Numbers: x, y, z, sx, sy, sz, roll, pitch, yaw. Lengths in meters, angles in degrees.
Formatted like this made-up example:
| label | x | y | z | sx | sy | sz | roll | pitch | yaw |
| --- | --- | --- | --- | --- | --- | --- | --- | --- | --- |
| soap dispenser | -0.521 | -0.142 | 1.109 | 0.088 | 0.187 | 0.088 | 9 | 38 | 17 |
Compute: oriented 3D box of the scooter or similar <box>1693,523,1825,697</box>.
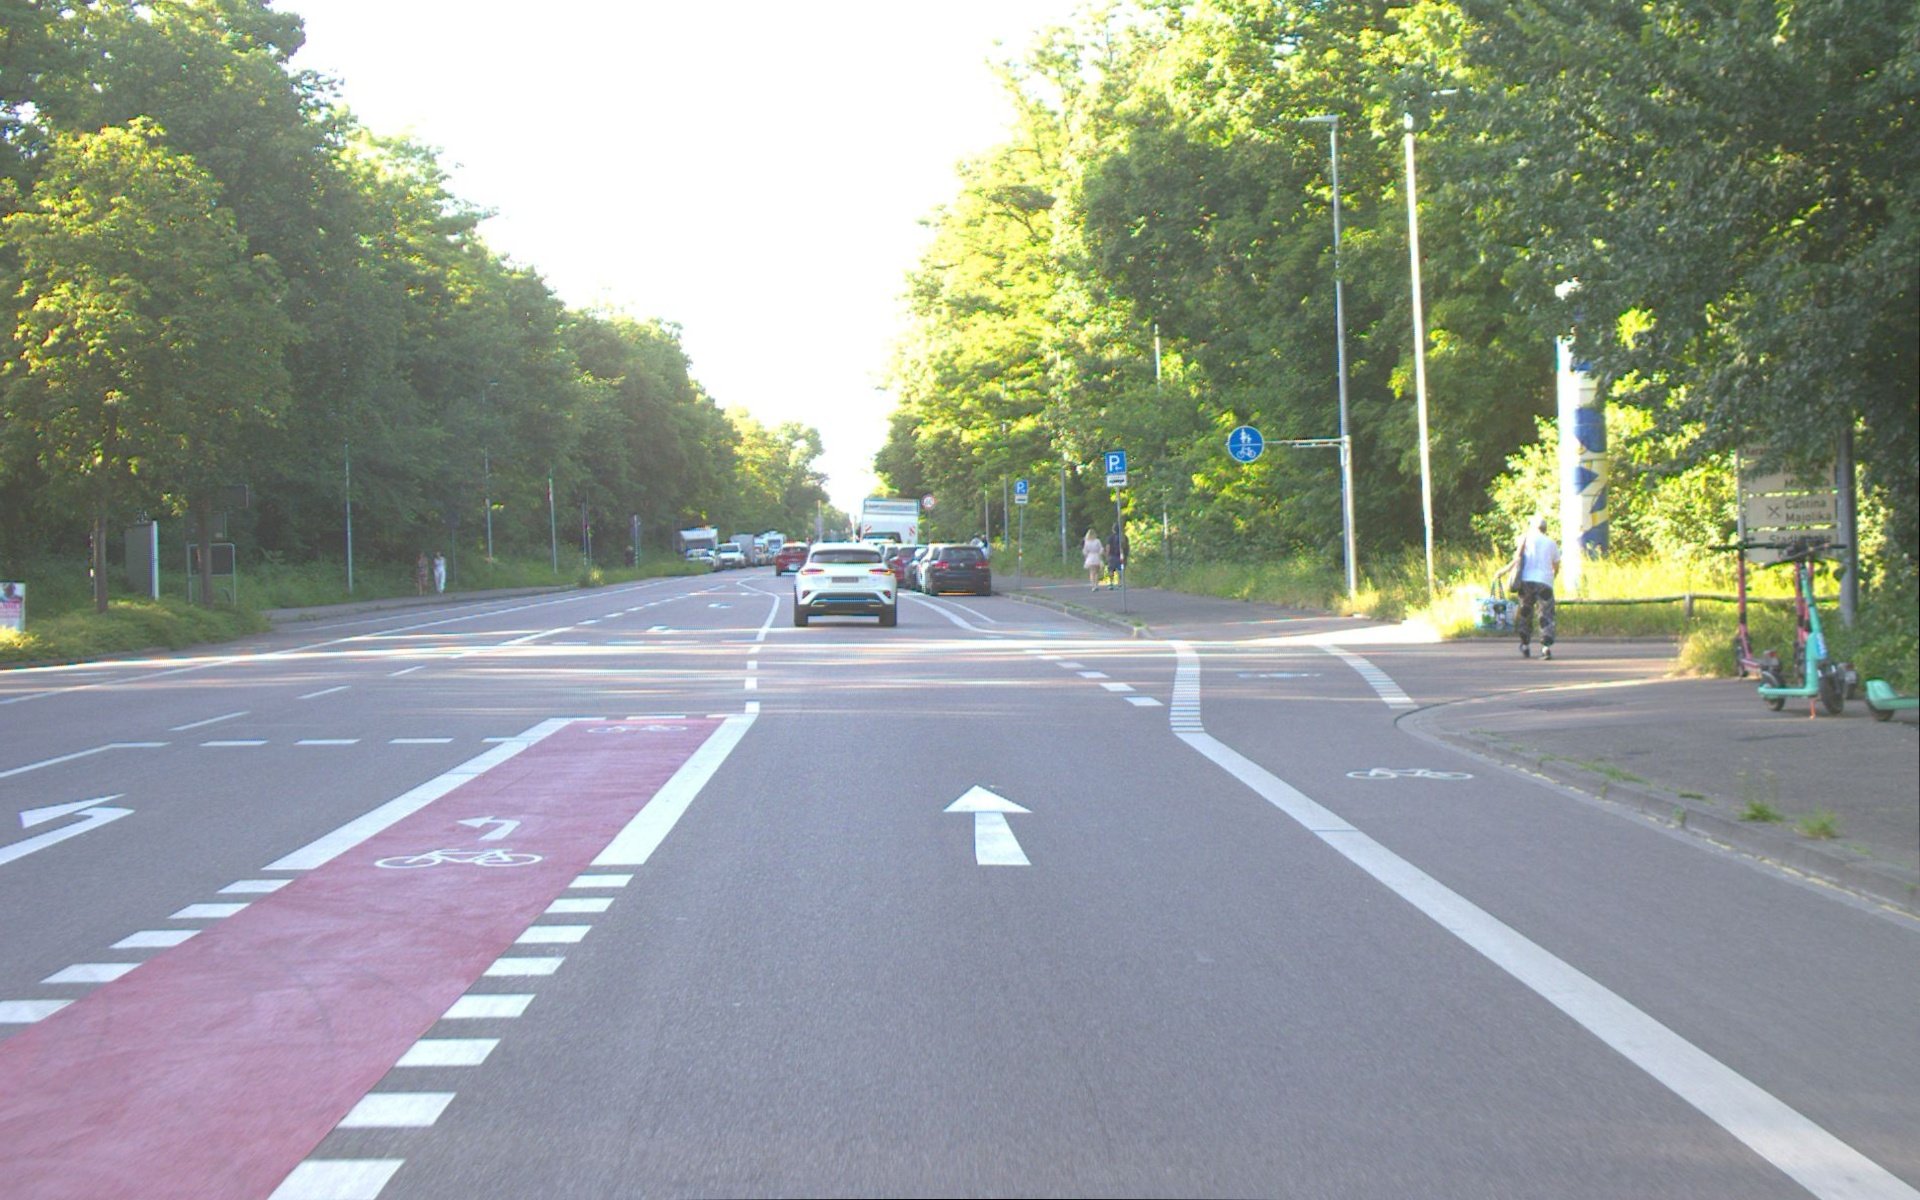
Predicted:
| label | x | y | z | sx | sy | sz | roll | pitch | yaw |
| --- | --- | --- | --- | --- | --- | --- | --- | --- | --- |
| scooter or similar | 6.780 | 0.064 | 29.258 | 0.682 | 1.418 | 1.682 | -1 | 1 | -1 |

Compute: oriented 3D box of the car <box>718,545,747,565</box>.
| label | x | y | z | sx | sy | sz | roll | pitch | yaw |
| --- | --- | --- | --- | --- | --- | --- | --- | --- | --- |
| car | -16.266 | -3.233 | 245.796 | 1.993 | 1.322 | 4.001 | -2 | 1 | -3 |

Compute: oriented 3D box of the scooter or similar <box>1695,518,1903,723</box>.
| label | x | y | z | sx | sy | sz | roll | pitch | yaw |
| --- | --- | --- | --- | --- | --- | --- | --- | --- | --- |
| scooter or similar | 6.051 | 0.131 | 24.890 | 0.682 | 1.418 | 1.682 | -2 | 1 | -16 |

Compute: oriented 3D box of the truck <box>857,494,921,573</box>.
| label | x | y | z | sx | sy | sz | roll | pitch | yaw |
| --- | --- | --- | --- | --- | --- | --- | --- | --- | --- |
| truck | -3.339 | -3.090 | 158.993 | 2.799 | 3.558 | 8.036 | 0 | 1 | -2 |

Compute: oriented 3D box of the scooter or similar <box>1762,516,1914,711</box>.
| label | x | y | z | sx | sy | sz | roll | pitch | yaw |
| --- | --- | --- | --- | --- | --- | --- | --- | --- | --- |
| scooter or similar | 6.675 | 0.082 | 26.204 | 0.682 | 1.418 | 1.682 | -1 | 1 | -1 |

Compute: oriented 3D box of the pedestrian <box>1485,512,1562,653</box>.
| label | x | y | z | sx | sy | sz | roll | pitch | yaw |
| --- | --- | --- | --- | --- | --- | --- | --- | --- | --- |
| pedestrian | 6.368 | -0.202 | 38.898 | 0.755 | 1.558 | 0.802 | -1 | 1 | 4 |

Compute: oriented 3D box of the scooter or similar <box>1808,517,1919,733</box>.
| label | x | y | z | sx | sy | sz | roll | pitch | yaw |
| --- | --- | --- | --- | --- | --- | --- | --- | --- | --- |
| scooter or similar | 6.483 | 0.152 | 23.213 | 0.682 | 1.418 | 1.682 | -2 | 1 | -16 |

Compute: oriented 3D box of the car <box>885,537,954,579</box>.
| label | x | y | z | sx | sy | sz | roll | pitch | yaw |
| --- | --- | --- | --- | --- | --- | --- | --- | --- | --- |
| car | -1.378 | -1.422 | 115.264 | 1.993 | 1.322 | 4.001 | -2 | 1 | -4 |

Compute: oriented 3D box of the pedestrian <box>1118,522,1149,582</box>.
| label | x | y | z | sx | sy | sz | roll | pitch | yaw |
| --- | --- | --- | --- | --- | --- | --- | --- | --- | --- |
| pedestrian | 4.666 | -1.286 | 92.465 | 0.743 | 1.593 | 0.798 | -2 | 1 | -1 |

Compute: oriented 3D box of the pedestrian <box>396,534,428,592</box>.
| label | x | y | z | sx | sy | sz | roll | pitch | yaw |
| --- | --- | --- | --- | --- | --- | --- | --- | --- | --- |
| pedestrian | -19.131 | -1.295 | 120.130 | 0.863 | 2.007 | 1.269 | -1 | 1 | 1 |

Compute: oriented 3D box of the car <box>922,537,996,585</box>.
| label | x | y | z | sx | sy | sz | roll | pitch | yaw |
| --- | --- | --- | --- | --- | --- | --- | --- | --- | --- |
| car | -0.048 | -1.143 | 99.575 | 1.993 | 1.322 | 4.000 | -2 | 1 | -1 |

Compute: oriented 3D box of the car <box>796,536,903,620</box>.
| label | x | y | z | sx | sy | sz | roll | pitch | yaw |
| --- | --- | --- | --- | --- | --- | --- | --- | --- | --- |
| car | -2.022 | -0.420 | 62.057 | 1.761 | 1.454 | 3.818 | 0 | 1 | -4 |

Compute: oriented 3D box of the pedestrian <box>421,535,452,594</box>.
| label | x | y | z | sx | sy | sz | roll | pitch | yaw |
| --- | --- | --- | --- | --- | --- | --- | --- | --- | --- |
| pedestrian | -18.279 | -1.250 | 120.092 | 0.831 | 2.007 | 1.269 | -2 | 1 | 1 |

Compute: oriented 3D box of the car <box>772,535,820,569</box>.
| label | x | y | z | sx | sy | sz | roll | pitch | yaw |
| --- | --- | --- | --- | --- | --- | --- | --- | --- | --- |
| car | -7.454 | -2.195 | 156.509 | 1.993 | 1.514 | 4.000 | -2 | 1 | 0 |

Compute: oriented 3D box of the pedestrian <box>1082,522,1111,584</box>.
| label | x | y | z | sx | sy | sz | roll | pitch | yaw |
| --- | --- | --- | --- | --- | --- | --- | --- | --- | --- |
| pedestrian | 3.665 | -1.265 | 92.426 | 0.698 | 1.647 | 0.876 | -2 | 1 | -1 |

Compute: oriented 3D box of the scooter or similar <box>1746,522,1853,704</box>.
| label | x | y | z | sx | sy | sz | roll | pitch | yaw |
| --- | --- | --- | --- | --- | --- | --- | --- | --- | --- |
| scooter or similar | 6.757 | 0.087 | 27.718 | 0.682 | 1.418 | 1.245 | -1 | 1 | 8 |

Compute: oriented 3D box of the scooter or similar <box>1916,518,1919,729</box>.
| label | x | y | z | sx | sy | sz | roll | pitch | yaw |
| --- | --- | --- | --- | --- | --- | --- | --- | --- | --- |
| scooter or similar | 6.634 | 0.188 | 21.142 | 0.682 | 1.418 | 1.682 | -2 | 1 | -14 |
